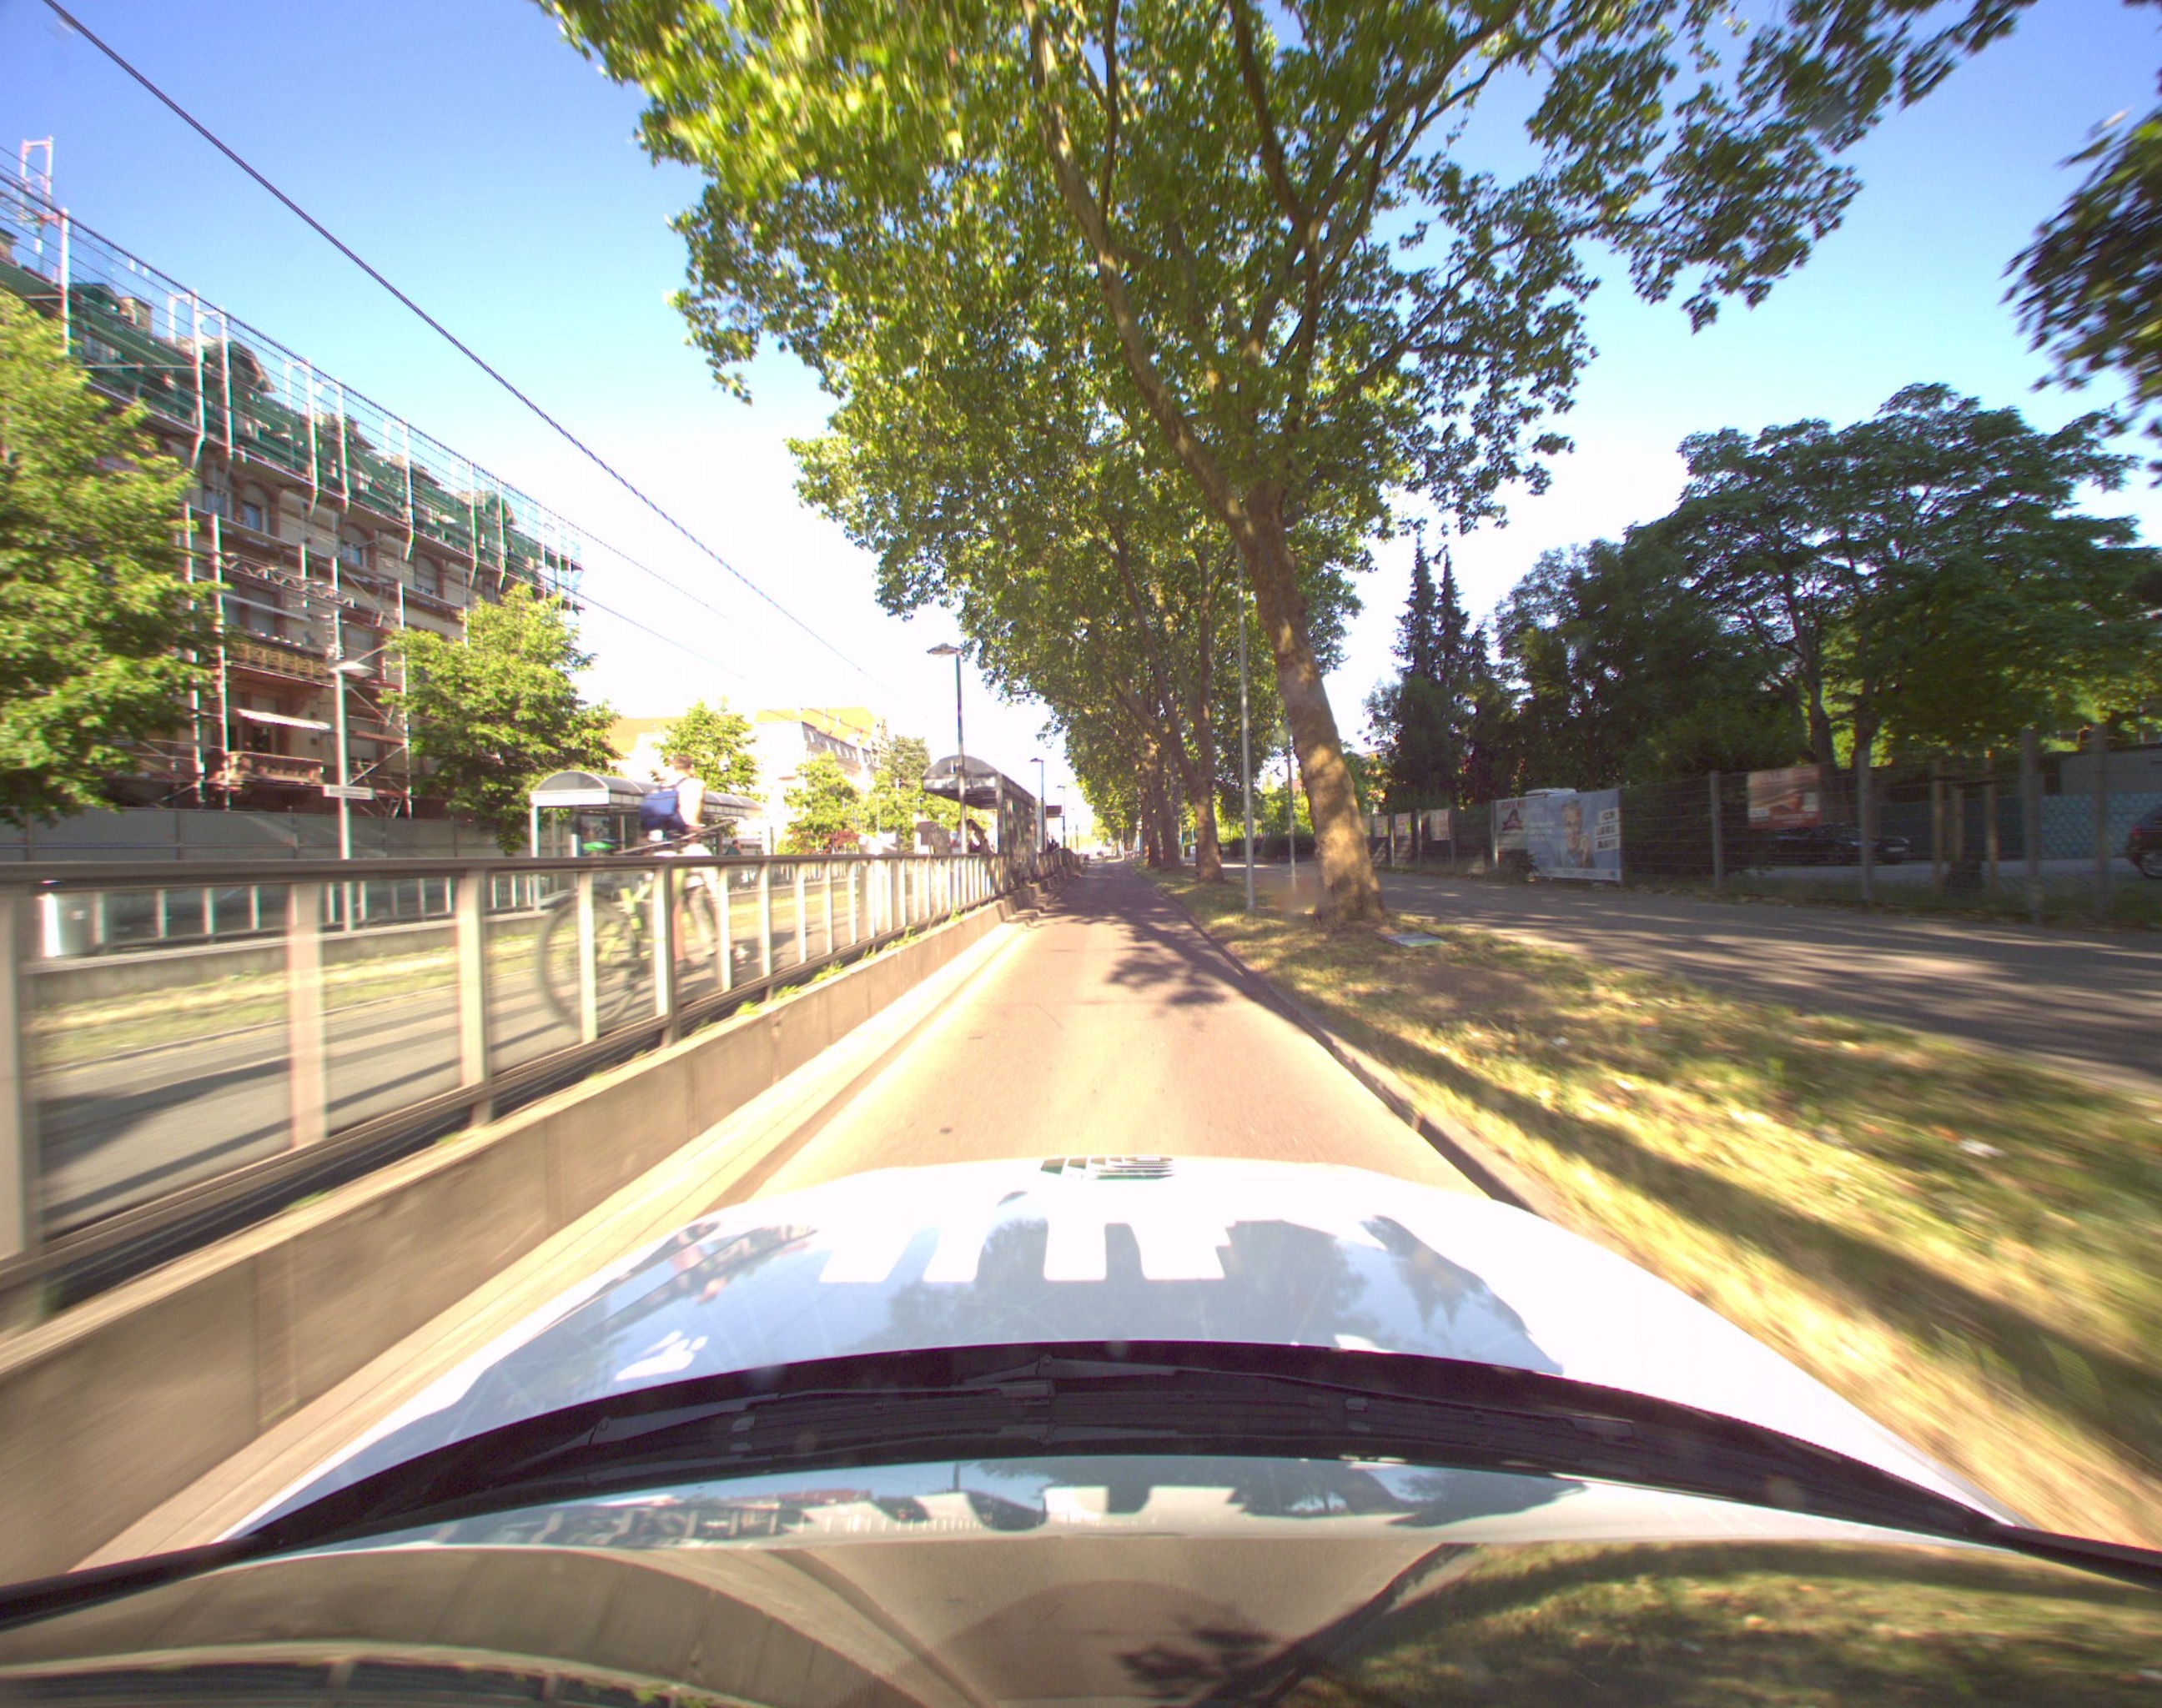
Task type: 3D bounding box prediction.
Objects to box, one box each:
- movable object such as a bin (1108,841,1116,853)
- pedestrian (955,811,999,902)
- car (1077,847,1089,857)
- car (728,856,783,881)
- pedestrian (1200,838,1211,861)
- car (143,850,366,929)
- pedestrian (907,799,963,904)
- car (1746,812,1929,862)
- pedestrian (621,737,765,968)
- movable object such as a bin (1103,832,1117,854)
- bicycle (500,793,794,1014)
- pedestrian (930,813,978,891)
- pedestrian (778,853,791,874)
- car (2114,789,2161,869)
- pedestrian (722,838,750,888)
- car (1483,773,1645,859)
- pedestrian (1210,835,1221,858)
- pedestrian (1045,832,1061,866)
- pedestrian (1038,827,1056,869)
[{"bbox_3d":[8.499,-1.823,222.681,1.961,3.013,4.797,-5,0,1],"label":"movable object such as a bin"},{"bbox_3d":[-2.044,0.052,16.048,0.762,1.758,0.695,0,0,1],"label":"pedestrian"},{"bbox_3d":[0.425,-0.327,140.623,1.986,1.684,4.002,0,0,2],"label":"car"},{"bbox_3d":[-21.607,0.938,54.255,1.713,1.586,4.071,0,0,6],"label":"car"},{"bbox_3d":[9.377,-0.357,61.189,0.625,1.656,0.740,-3,0,1],"label":"pedestrian"},{"bbox_3d":[-22.765,0.896,22.685,1.985,2.013,4.004,0,0,3],"label":"car"},{"bbox_3d":[-2.237,-0.032,12.540,0.676,1.562,0.851,0,0,1],"label":"pedestrian"},{"bbox_3d":[23.511,-0.503,25.535,1.988,1.453,3.997,0,0,-2],"label":"car"},{"bbox_3d":[-3.134,-0.015,6.649,0.782,1.770,0.773,0,0,1],"label":"pedestrian"},{"bbox_3d":[7.124,-2.557,200.533,3.076,5.088,8.894,-4,0,1],"label":"movable object such as a bin"},{"bbox_3d":[-2.590,0.250,5.203,0.734,1.133,2.031,0,0,2],"label":"bicycle"},{"bbox_3d":[-2.884,-0.049,18.494,0.914,1.722,0.625,0,0,-32],"label":"pedestrian"},{"bbox_3d":[-24.135,0.736,66.269,0.723,1.647,0.811,-3,0,-5],"label":"pedestrian"},{"bbox_3d":[20.606,-0.442,13.461,1.988,1.453,3.997,0,0,-2],"label":"car"},{"bbox_3d":[-11.739,0.295,27.706,0.677,1.690,0.654,0,0,-1],"label":"pedestrian"},{"bbox_3d":[15.678,-1.115,26.978,1.985,2.499,6.353,0,0,4],"label":"car"},{"bbox_3d":[10.096,-0.574,61.020,0.647,1.656,0.783,-3,0,1],"label":"pedestrian"},{"bbox_3d":[-1.381,-0.252,40.524,0.754,1.690,0.679,0,0,1],"label":"pedestrian"},{"bbox_3d":[-1.373,-0.235,33.247,0.676,1.690,0.895,0,0,2],"label":"pedestrian"}]
